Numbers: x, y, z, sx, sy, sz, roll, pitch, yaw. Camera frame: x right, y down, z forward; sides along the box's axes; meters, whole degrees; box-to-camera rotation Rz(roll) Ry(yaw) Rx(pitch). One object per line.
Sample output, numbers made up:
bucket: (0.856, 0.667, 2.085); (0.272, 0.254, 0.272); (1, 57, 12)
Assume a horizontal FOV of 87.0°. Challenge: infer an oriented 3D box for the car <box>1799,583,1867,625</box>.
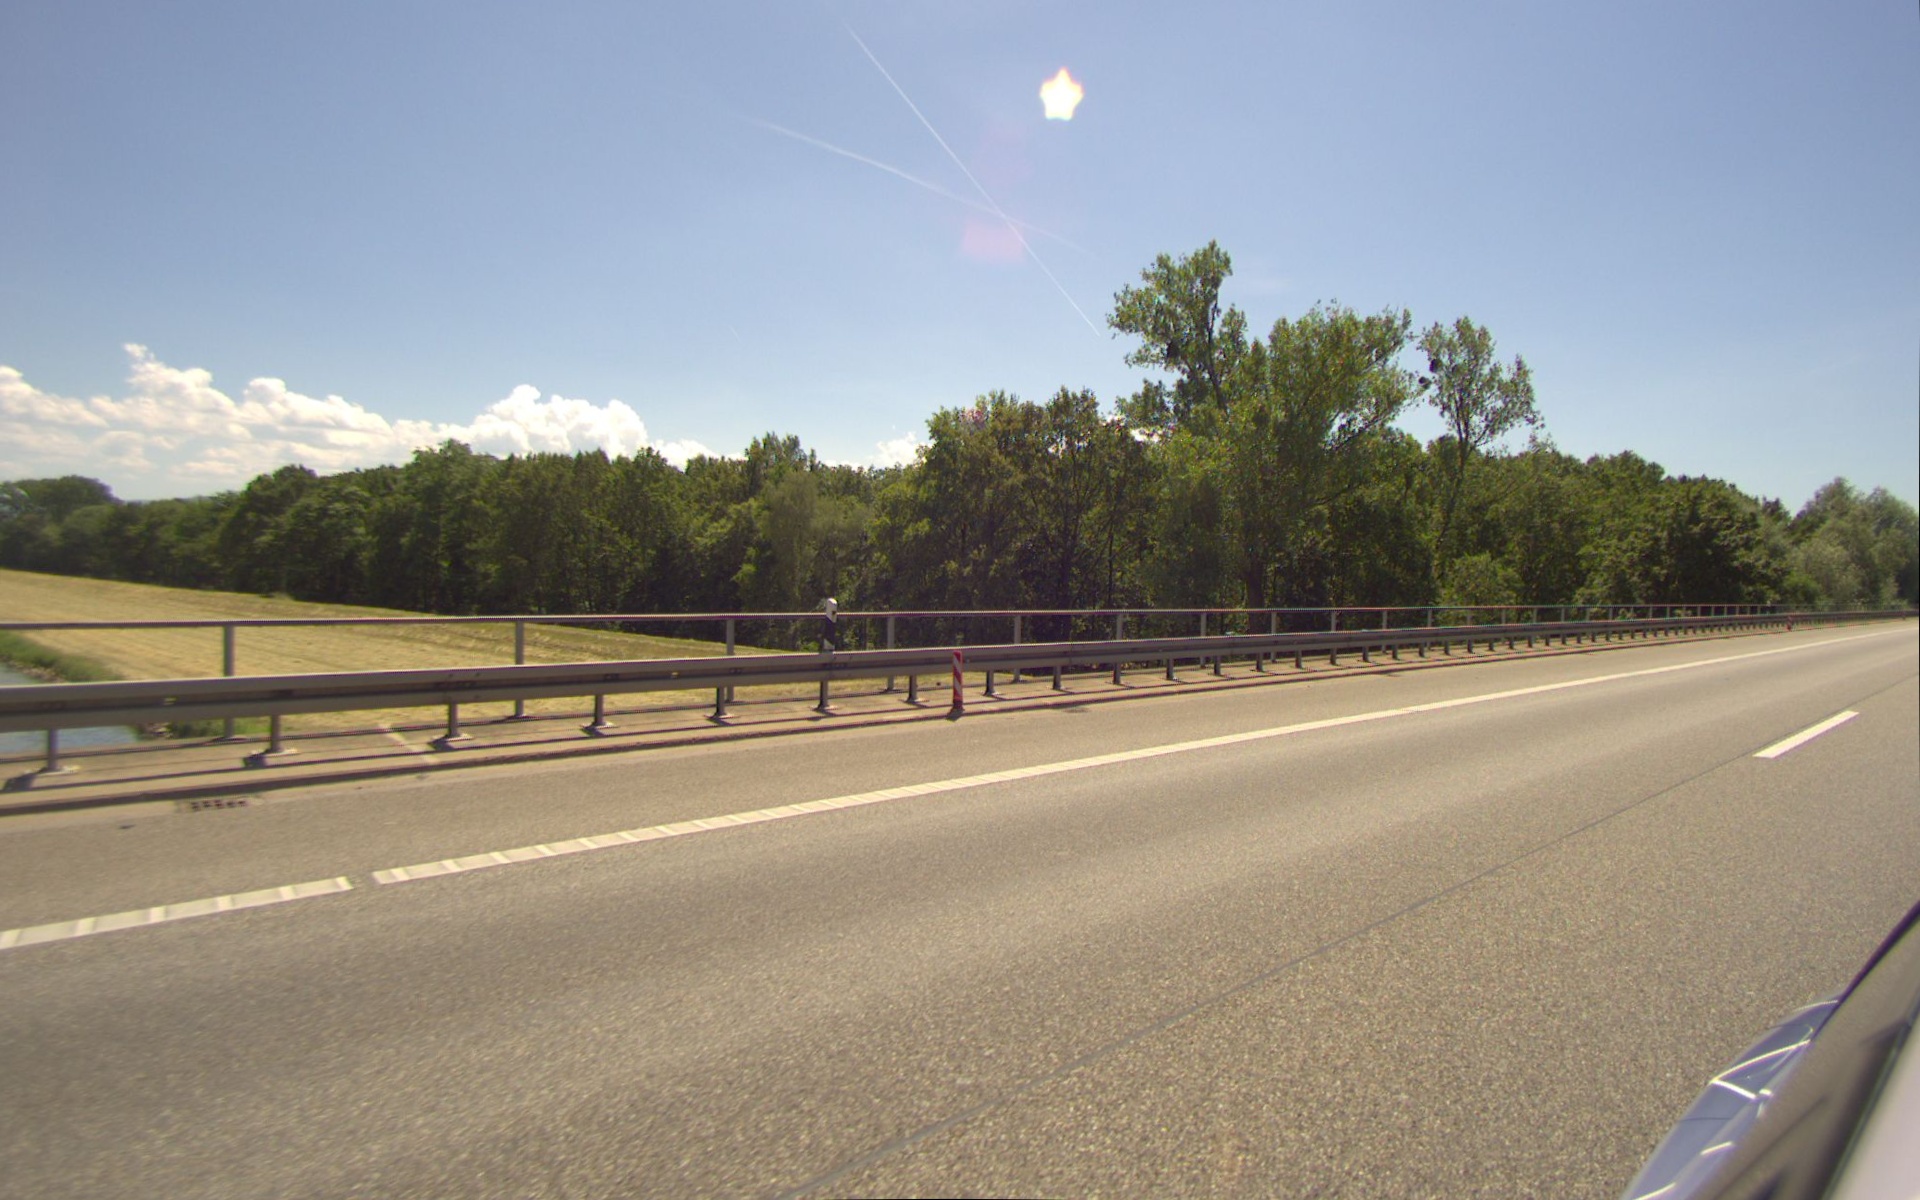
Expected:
car: (39.826, 0.164, 46.142); (3.932, 1.839, 1.933); (0, 0, -43)
